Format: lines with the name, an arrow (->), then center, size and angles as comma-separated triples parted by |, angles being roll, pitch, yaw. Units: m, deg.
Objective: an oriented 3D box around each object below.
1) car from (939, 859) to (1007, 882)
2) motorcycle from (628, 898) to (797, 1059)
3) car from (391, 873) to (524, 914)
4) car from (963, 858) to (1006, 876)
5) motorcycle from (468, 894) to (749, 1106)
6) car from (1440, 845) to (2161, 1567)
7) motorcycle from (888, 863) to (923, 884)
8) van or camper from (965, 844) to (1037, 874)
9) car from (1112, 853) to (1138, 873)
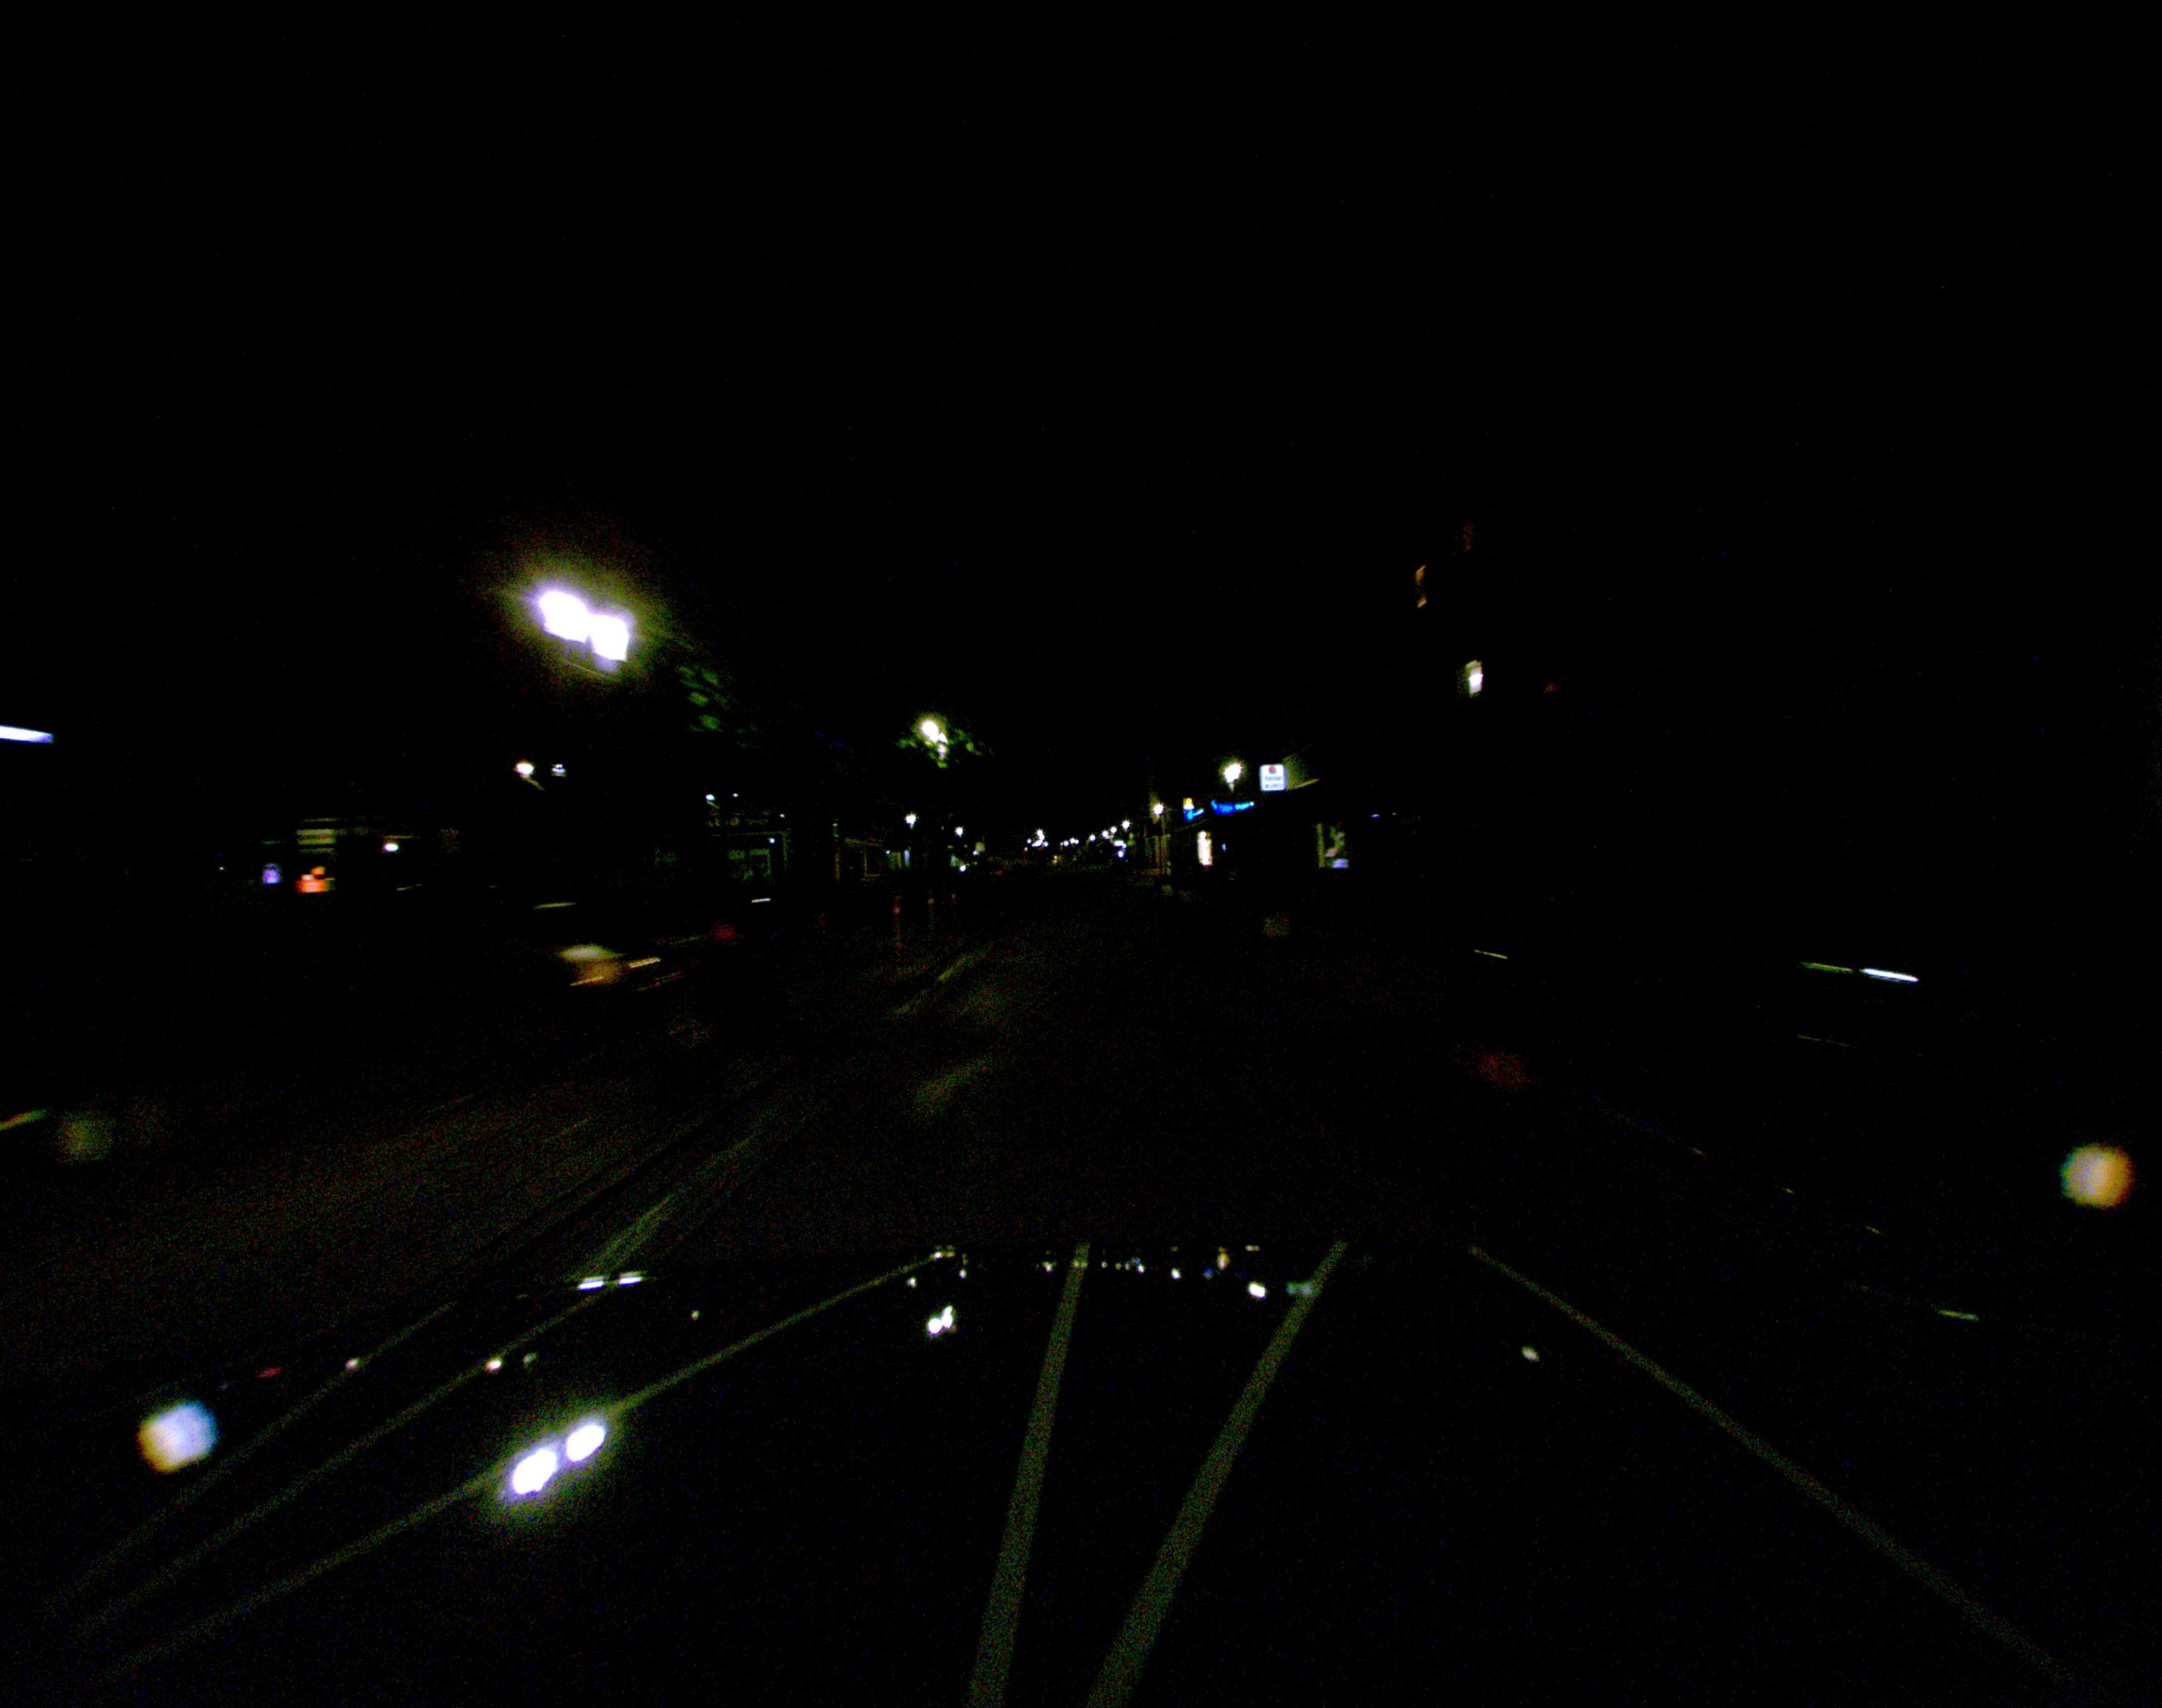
car -> -7.729, 1.171, 54.554 | 4.555, 1.447, 1.633 | -2, 0, -36
motorcycle -> -3.588, 1.104, 7.294 | 2.164, 1.290, 0.516 | -1, 1, 38
car -> -26.205, 1.630, 32.053 | 3.997, 1.580, 1.901 | -1, -1, -1
car -> -8.312, 1.099, 65.465 | 3.183, 1.447, 1.691 | -2, 0, -28
motorcycle -> -3.670, 1.018, 5.853 | 2.266, 1.383, 0.662 | -1, 1, 25
car -> 3.187, 0.740, 2.262 | 1.905, 1.461, 4.524 | -3, 0, -2
motorcycle -> -11.509, 1.265, 49.950 | 2.226, 1.263, 0.531 | -2, 0, -43
van or camper -> -7.175, 0.456, 68.763 | 6.061, 2.518, 2.158 | -2, 0, -31
car -> 3.474, 0.681, 61.201 | 1.655, 1.417, 4.014 | -5, 0, -2
